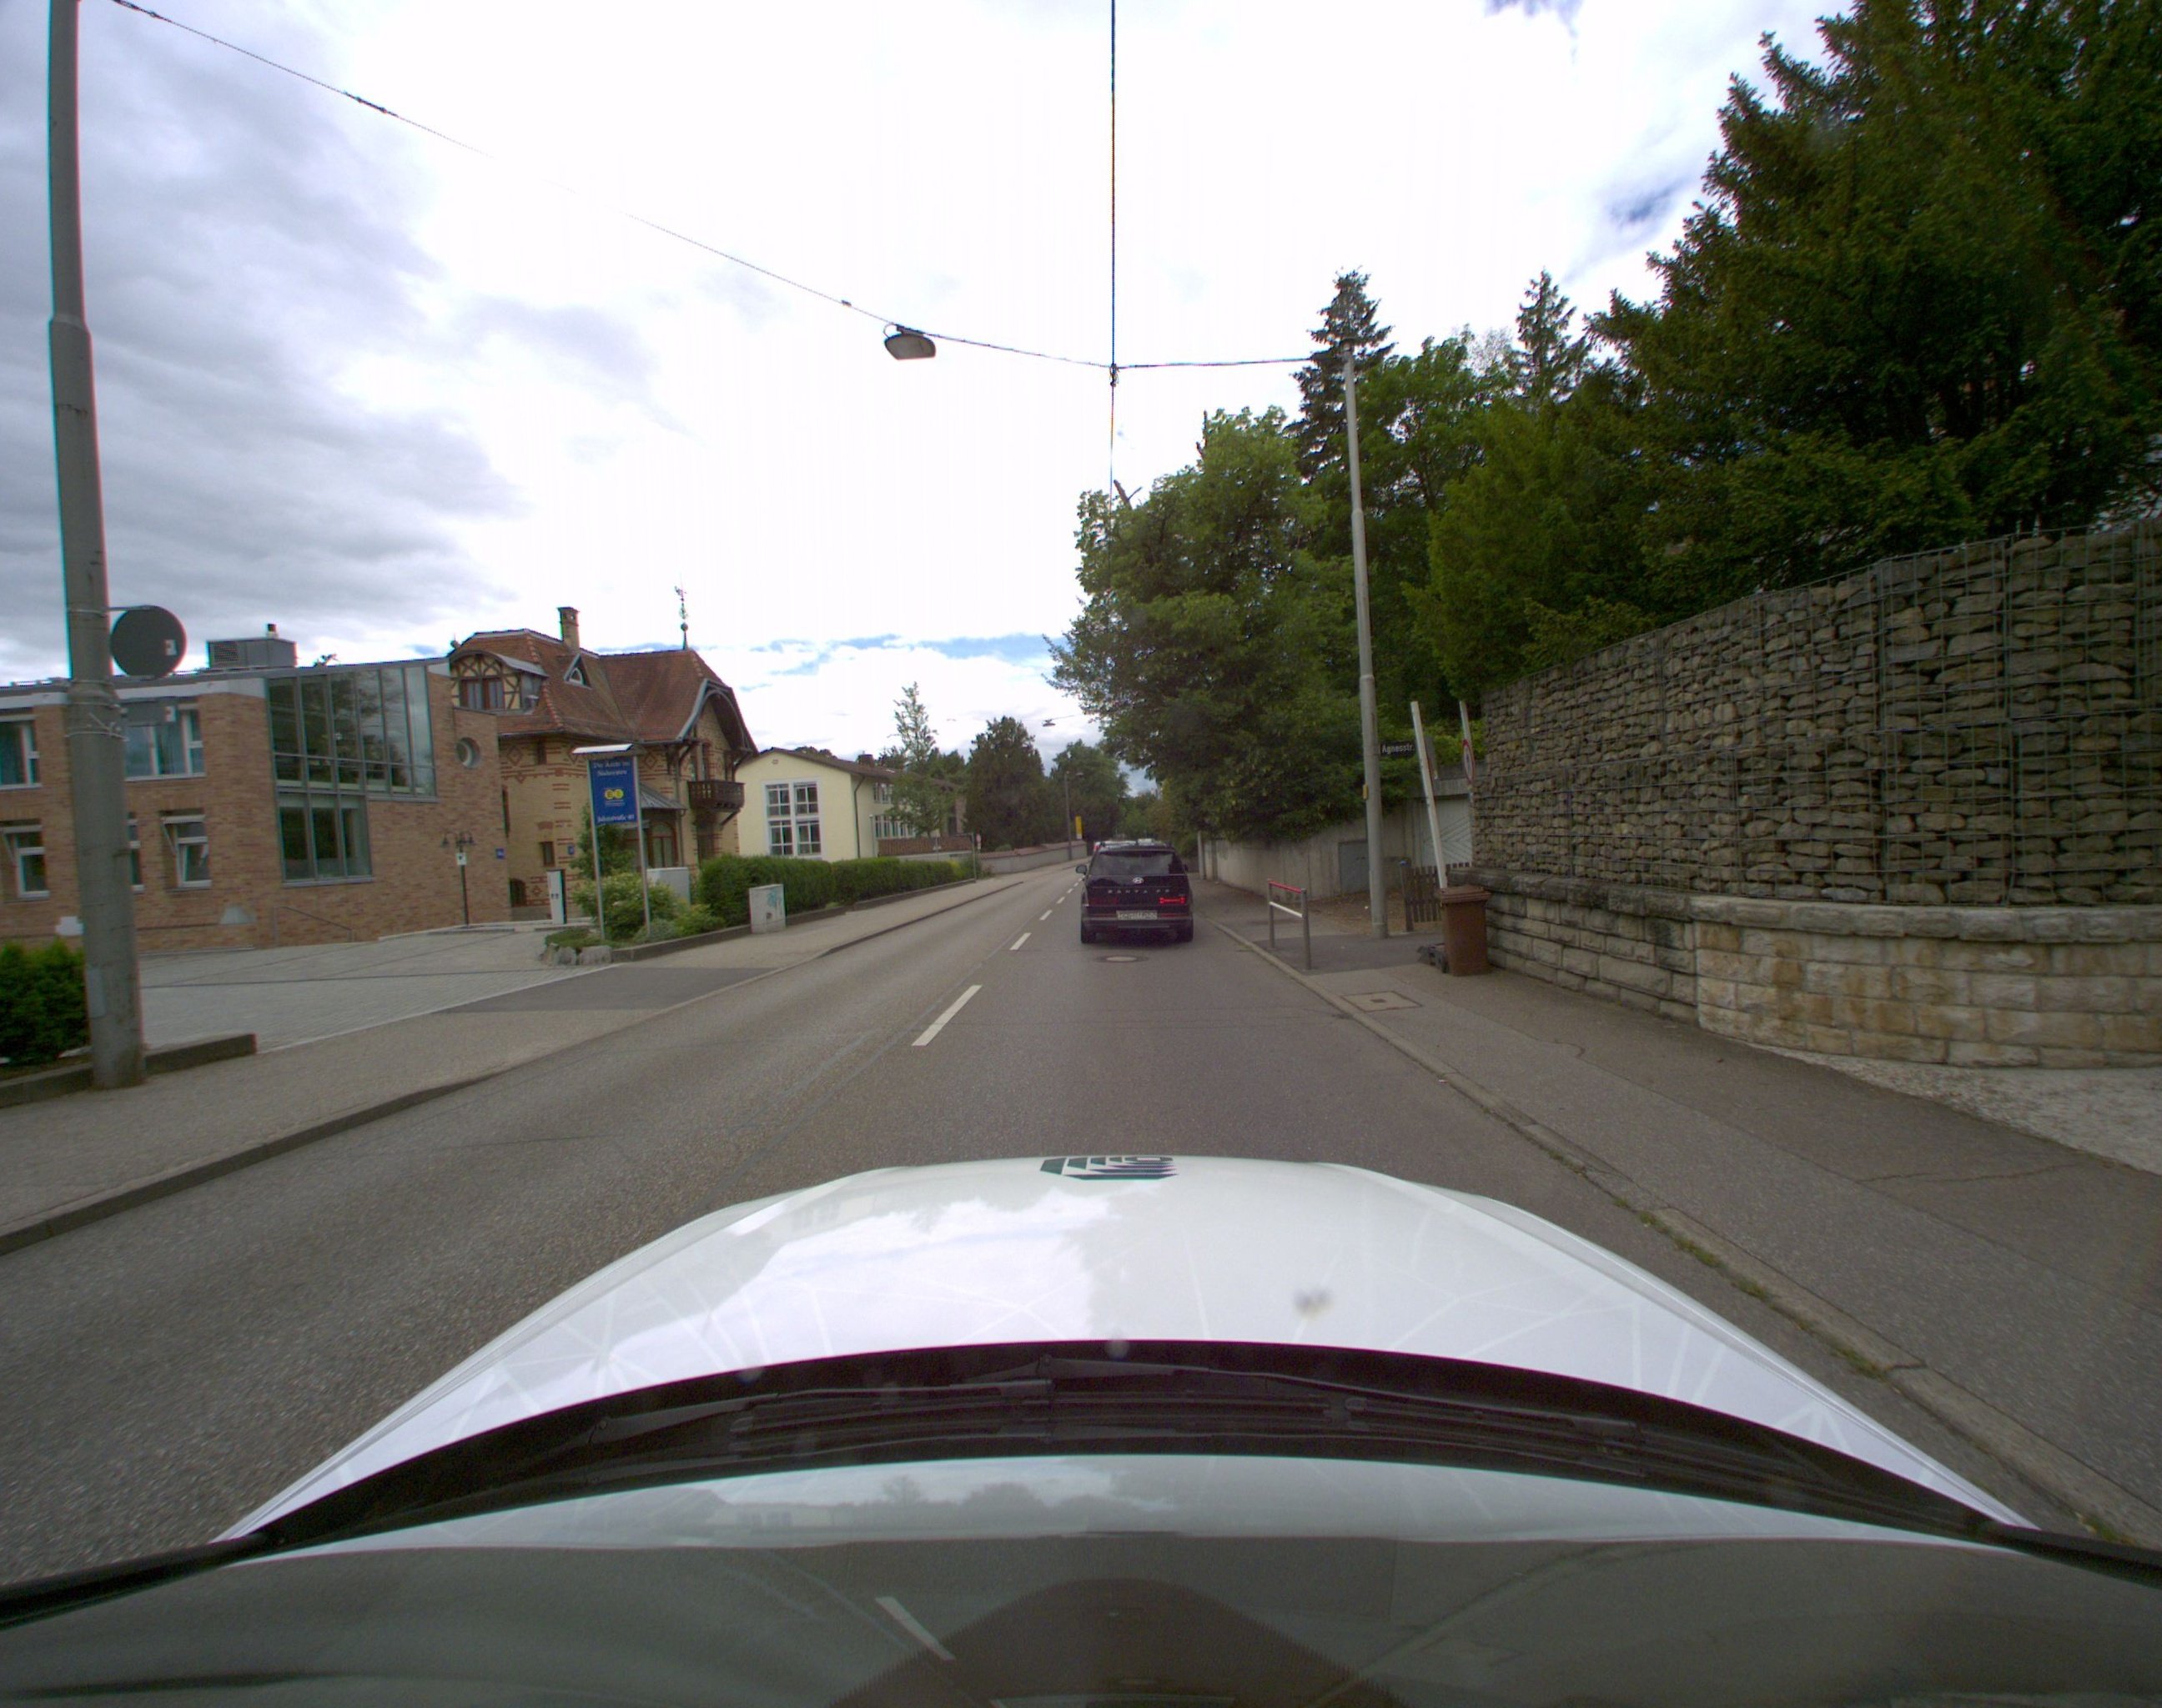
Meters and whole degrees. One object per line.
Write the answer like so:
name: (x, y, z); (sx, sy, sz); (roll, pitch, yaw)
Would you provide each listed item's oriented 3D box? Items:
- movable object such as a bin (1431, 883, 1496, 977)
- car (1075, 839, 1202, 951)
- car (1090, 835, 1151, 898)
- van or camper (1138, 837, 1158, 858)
movable object such as a bin: (4.010, 0.789, 8.564); (0.442, 0.909, 0.395); (-7, -1, 11)
car: (0.983, 0.616, 14.840); (1.949, 1.713, 4.226); (-1, 1, 2)
car: (1.448, 0.371, 28.814); (1.948, 1.955, 4.229); (-1, 2, 4)
van or camper: (7.387, -0.716, 89.747); (1.665, 2.007, 3.950); (-4, 2, 10)
